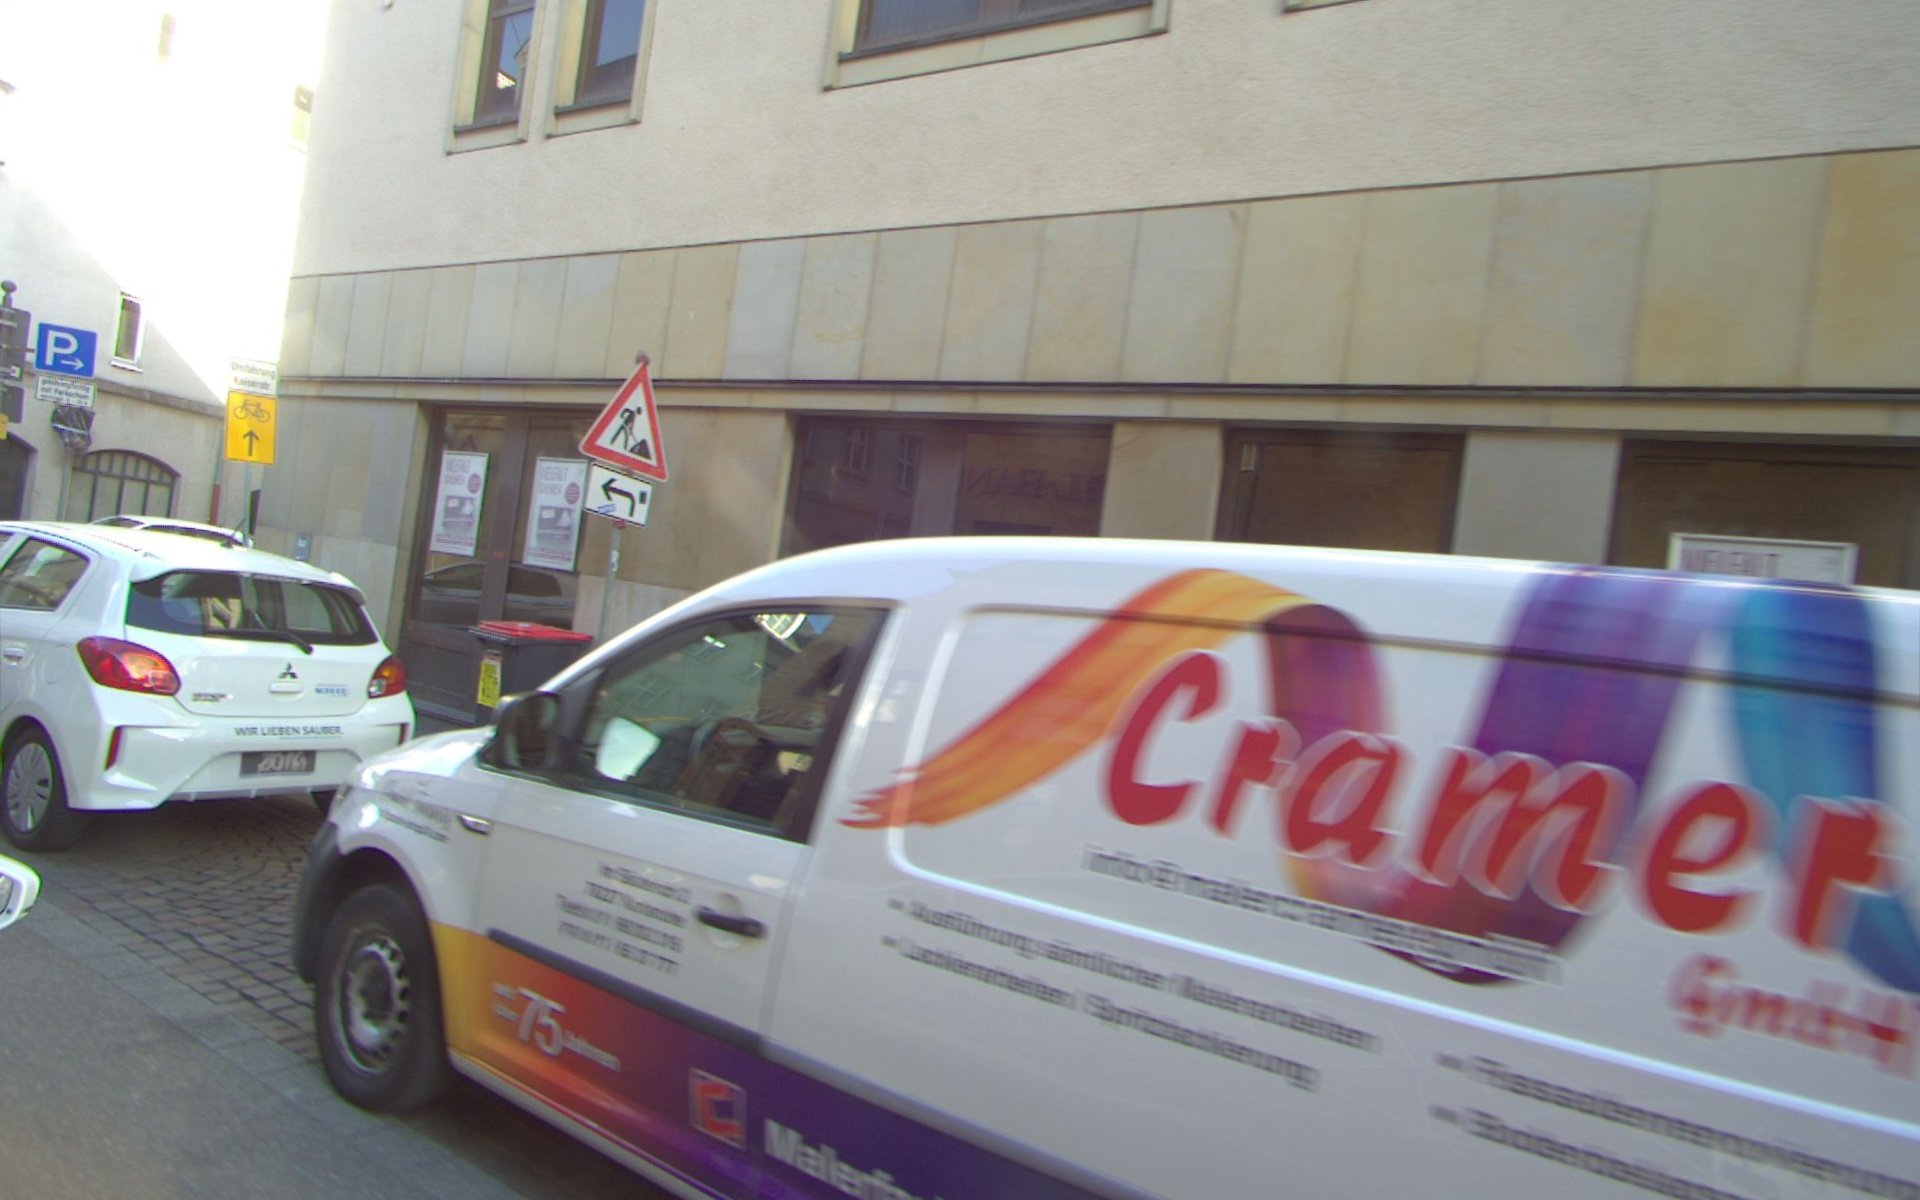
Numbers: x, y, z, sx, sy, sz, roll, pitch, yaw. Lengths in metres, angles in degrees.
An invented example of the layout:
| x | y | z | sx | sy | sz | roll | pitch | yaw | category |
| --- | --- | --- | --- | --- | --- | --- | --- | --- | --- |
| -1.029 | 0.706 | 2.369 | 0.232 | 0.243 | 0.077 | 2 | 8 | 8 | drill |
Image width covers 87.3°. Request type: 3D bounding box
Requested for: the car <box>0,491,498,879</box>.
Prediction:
| x | y | z | sx | sy | sz | roll | pitch | yaw | category |
| --- | --- | --- | --- | --- | --- | --- | --- | --- | --- |
| -4.962 | 0.237 | 5.861 | 3.991 | 1.535 | 1.894 | 8 | -2 | 26 | car |

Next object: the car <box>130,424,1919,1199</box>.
| x | y | z | sx | sy | sz | roll | pitch | yaw | category |
| --- | --- | --- | --- | --- | --- | --- | --- | --- | --- |
| 0.088 | 0.703 | 2.732 | 5.126 | 1.811 | 1.835 | 7 | -2 | 31 | car |

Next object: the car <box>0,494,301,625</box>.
| x | y | z | sx | sy | sz | roll | pitch | yaw | category |
| --- | --- | --- | --- | --- | --- | --- | --- | --- | --- |
| -13.826 | -0.643 | 16.799 | 1.869 | 1.570 | 4.227 | 8 | -2 | 28 | car |
